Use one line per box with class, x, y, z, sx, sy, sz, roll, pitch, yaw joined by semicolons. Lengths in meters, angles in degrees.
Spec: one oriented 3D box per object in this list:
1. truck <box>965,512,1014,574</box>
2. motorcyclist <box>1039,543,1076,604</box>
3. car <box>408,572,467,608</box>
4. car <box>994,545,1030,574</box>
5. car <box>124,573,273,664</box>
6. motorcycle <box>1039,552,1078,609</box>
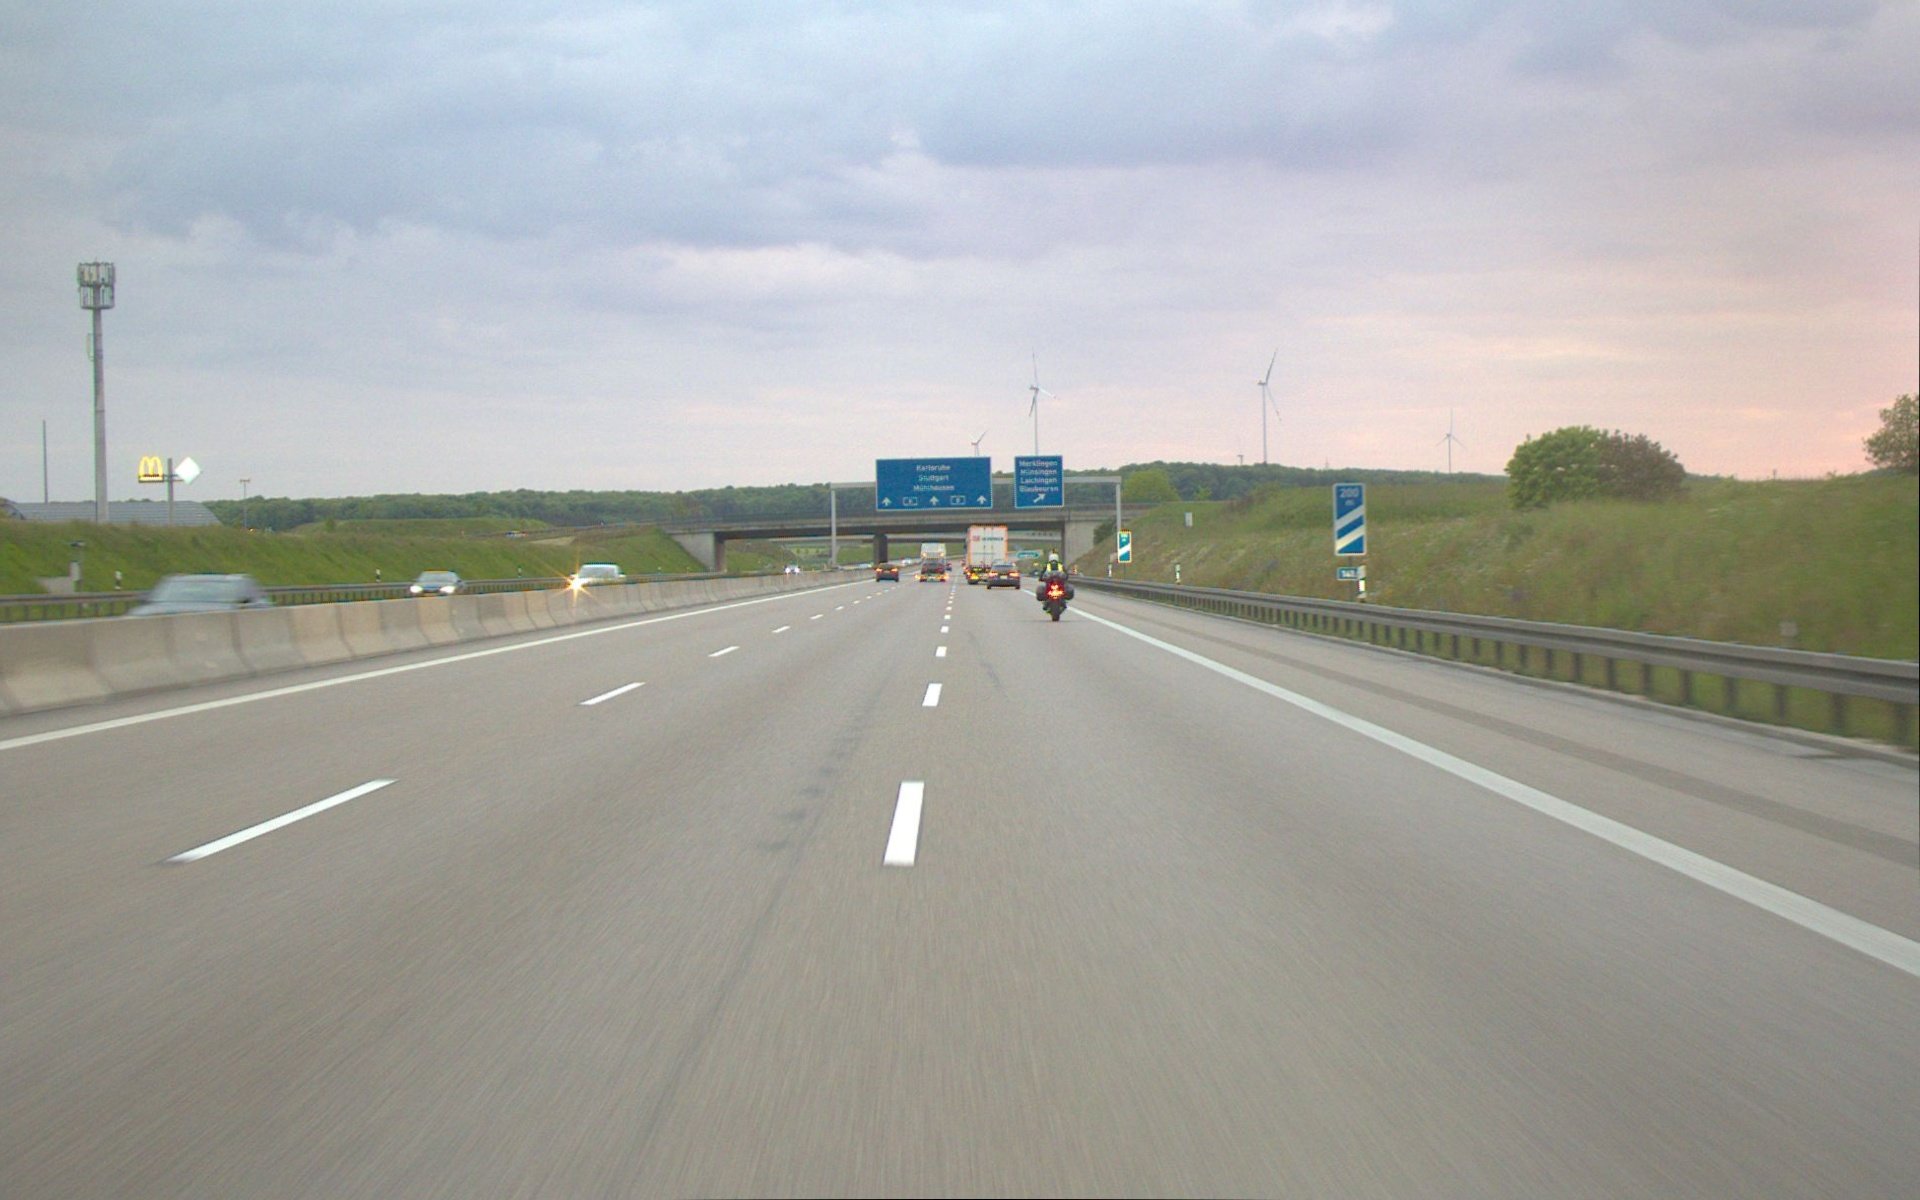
truck;2.044;-3.972;238.402;3.234;4.213;9.599;1;1;0
motorcyclist;2.415;-0.651;85.188;0.866;1.482;1.168;1;1;2
car;-20.897;-0.421;137.609;1.738;1.388;4.343;0;1;-1
car;2.921;-2.305;195.403;1.918;1.574;4.000;0;1;-1
car;-13.410;0.299;60.749;1.738;1.494;4.131;0;1;-1
motorcycle;2.441;-0.498;85.306;0.902;1.342;2.349;0;2;0
